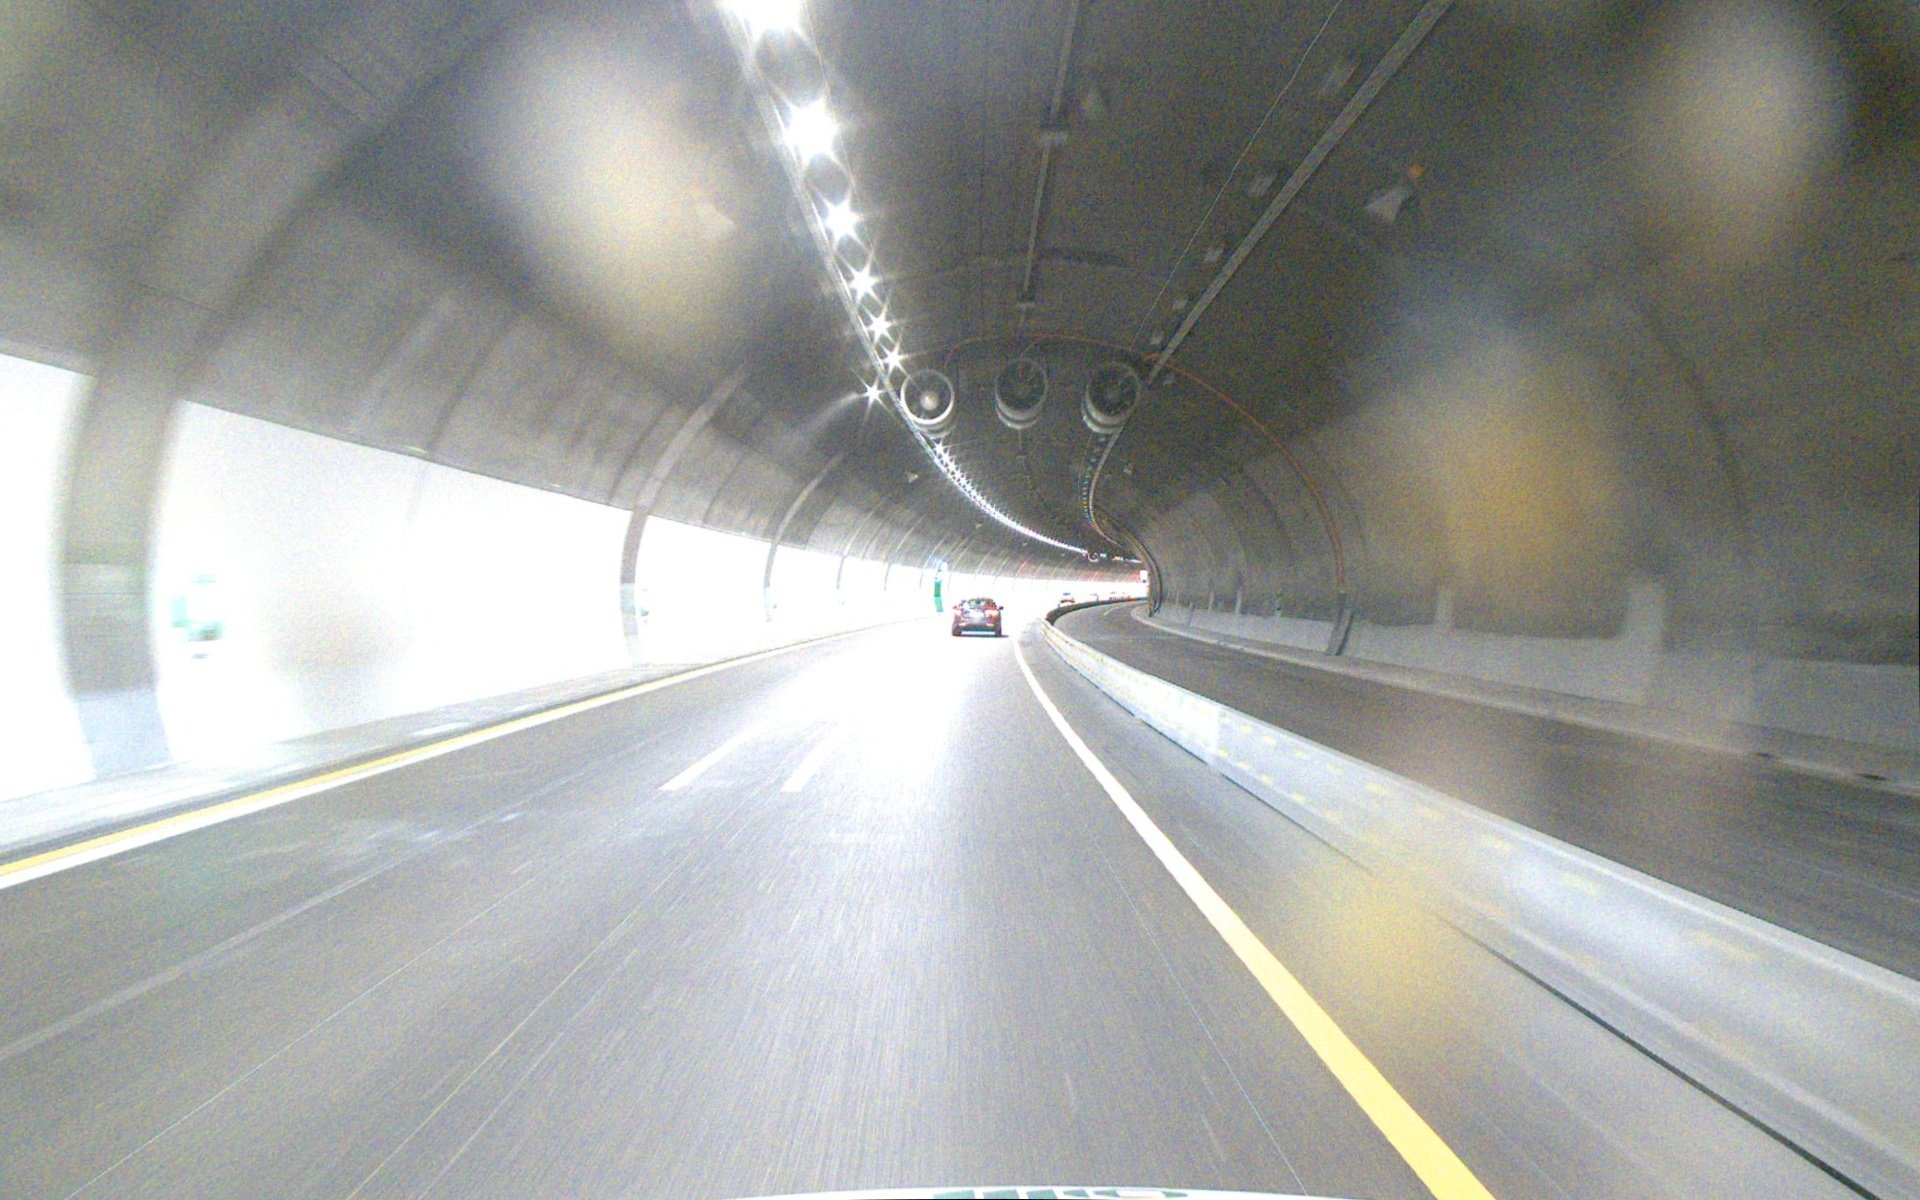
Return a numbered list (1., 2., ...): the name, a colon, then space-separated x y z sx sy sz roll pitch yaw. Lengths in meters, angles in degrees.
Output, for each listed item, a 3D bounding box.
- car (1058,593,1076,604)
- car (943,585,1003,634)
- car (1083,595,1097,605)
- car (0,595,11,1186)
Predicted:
1. car: 14.984 -0.235 232.284 2.118 1.512 4.004 1 0 10
2. car: 0.536 0.333 61.989 2.096 1.735 4.001 1 0 2
3. car: 18.046 0.037 229.332 1.561 1.356 3.754 1 0 10
4. car: -3.155 0.721 1.622 1.742 1.463 4.881 1 0 -2
